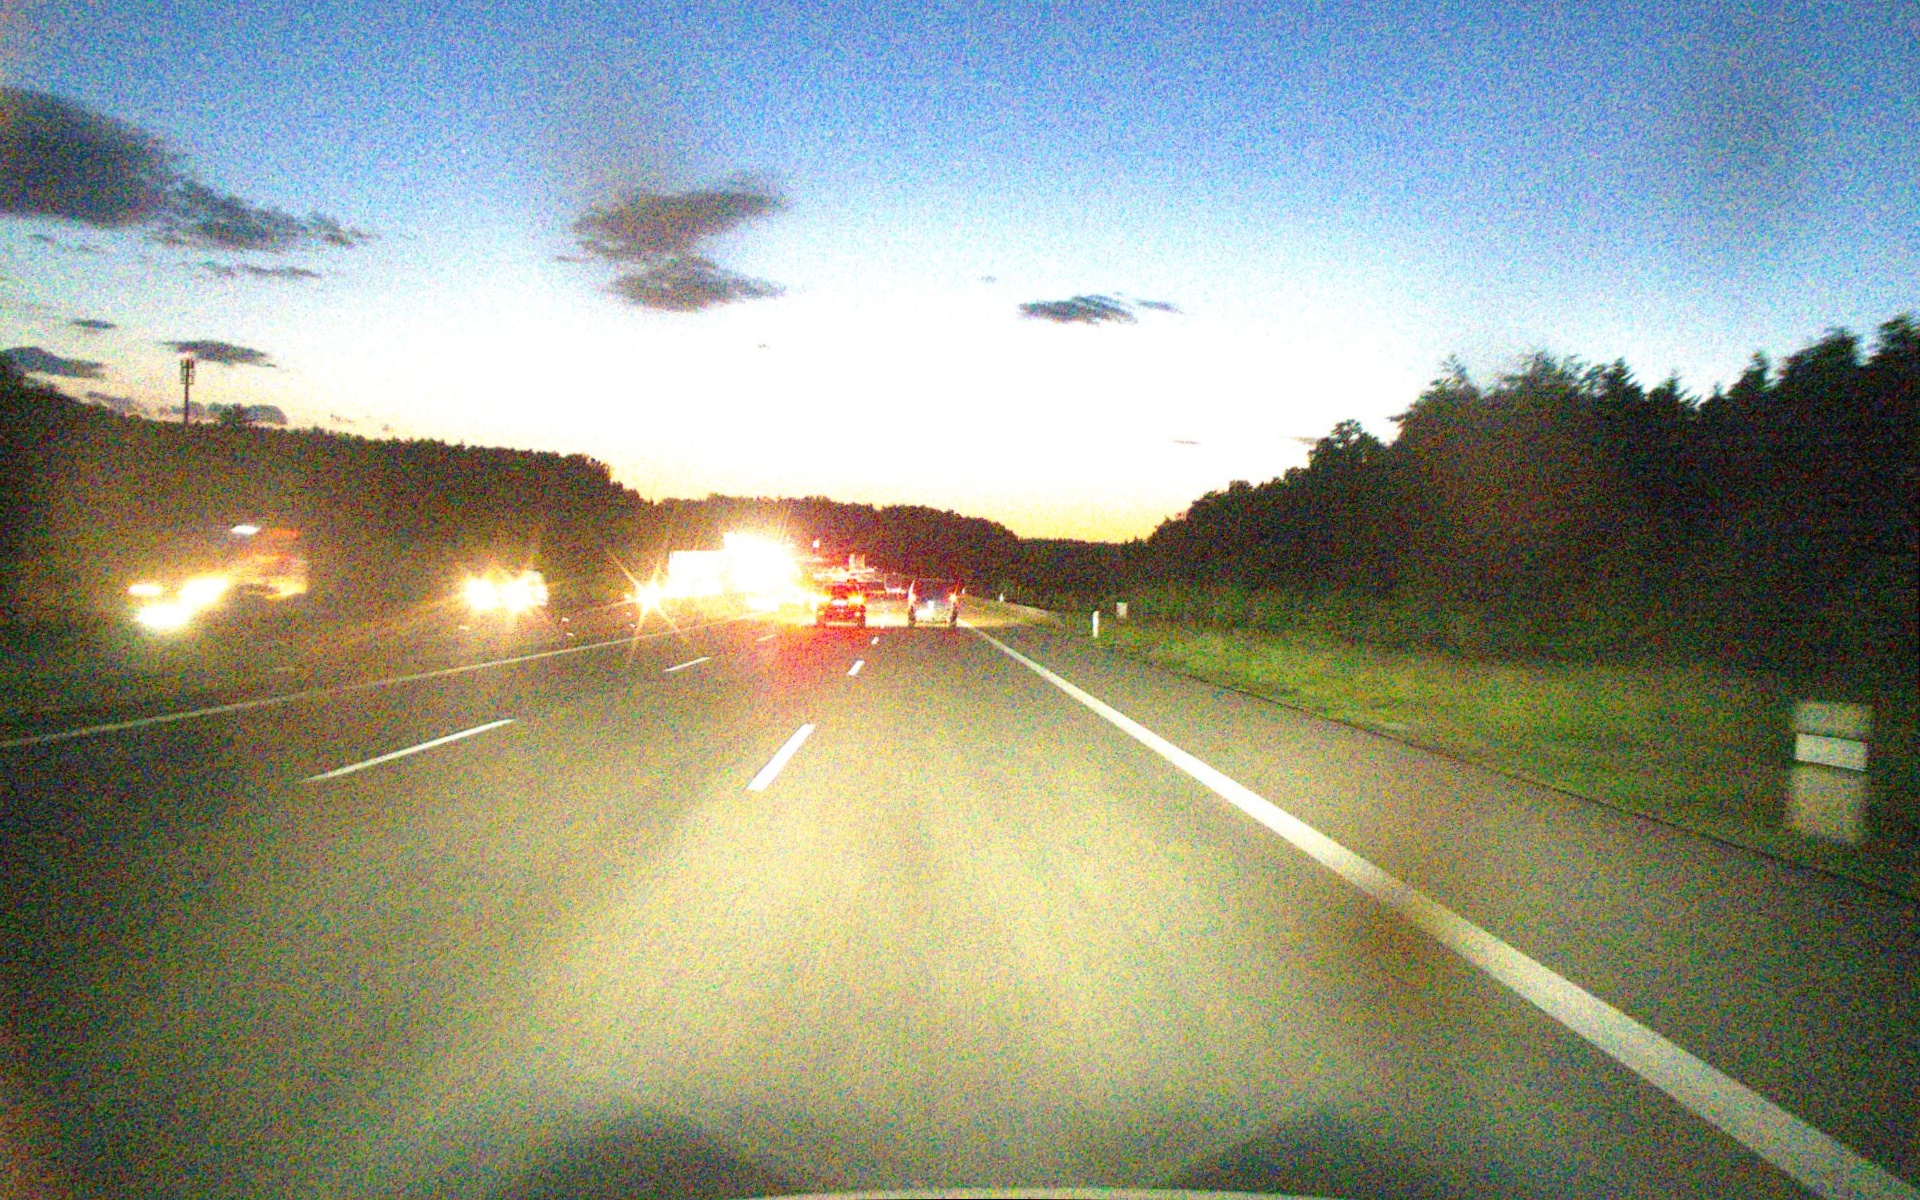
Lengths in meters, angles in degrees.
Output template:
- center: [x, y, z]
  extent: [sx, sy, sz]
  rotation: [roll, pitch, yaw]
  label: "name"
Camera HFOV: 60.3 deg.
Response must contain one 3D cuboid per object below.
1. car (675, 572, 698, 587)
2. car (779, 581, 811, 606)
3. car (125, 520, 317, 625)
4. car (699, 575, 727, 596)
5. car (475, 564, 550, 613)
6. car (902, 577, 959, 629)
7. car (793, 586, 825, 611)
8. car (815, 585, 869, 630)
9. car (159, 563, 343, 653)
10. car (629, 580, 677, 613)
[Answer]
- center: [-28.873, -2.179, 174.569]
  extent: [1.738, 1.454, 4.658]
  rotation: [1, 0, -2]
  label: "car"
- center: [-9.698, -0.379, 97.614]
  extent: [1.518, 1.456, 5.512]
  rotation: [1, 0, -2]
  label: "car"
- center: [-22.931, -0.816, 51.845]
  extent: [2.408, 2.987, 8.330]
  rotation: [1, 0, -1]
  label: "car"
- center: [-24.142, -1.419, 161.914]
  extent: [2.062, 1.918, 4.658]
  rotation: [1, 0, -2]
  label: "car"
- center: [-18.744, -0.468, 69.474]
  extent: [2.103, 1.918, 5.418]
  rotation: [1, 0, -5]
  label: "car"
- center: [-1.253, 0.088, 67.297]
  extent: [2.153, 1.989, 4.761]
  rotation: [0, 1, -3]
  label: "car"
- center: [-10.323, -0.140, 113.298]
  extent: [1.744, 1.512, 5.252]
  rotation: [2, 1, -1]
  label: "car"
- center: [-4.708, 0.283, 66.584]
  extent: [1.953, 1.751, 5.940]
  rotation: [0, 0, -2]
  label: "car"
- center: [-15.094, 0.142, 35.508]
  extent: [1.953, 1.764, 4.658]
  rotation: [1, 0, -1]
  label: "car"
- center: [-17.514, -0.197, 94.423]
  extent: [1.953, 1.764, 4.658]
  rotation: [1, 0, -2]
  label: "car"
